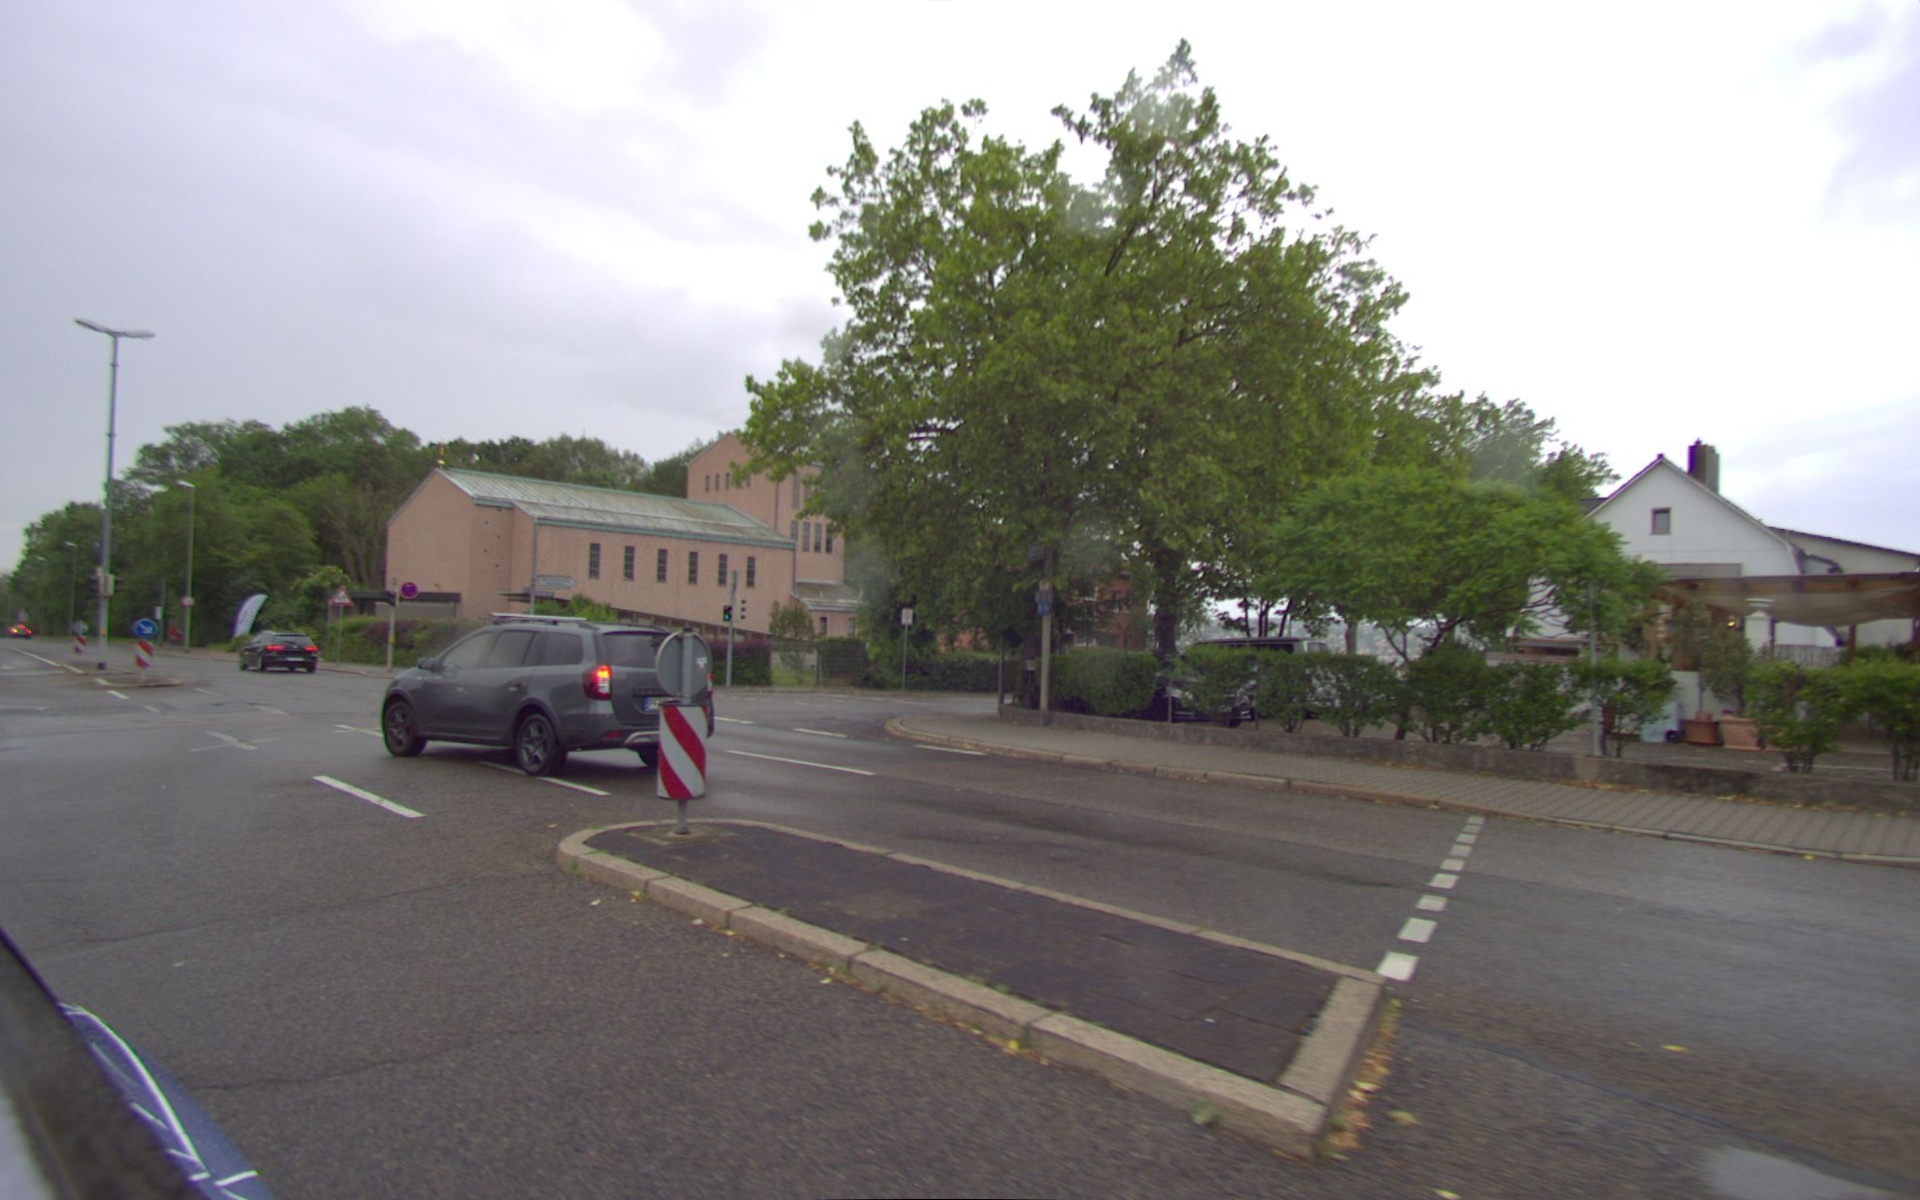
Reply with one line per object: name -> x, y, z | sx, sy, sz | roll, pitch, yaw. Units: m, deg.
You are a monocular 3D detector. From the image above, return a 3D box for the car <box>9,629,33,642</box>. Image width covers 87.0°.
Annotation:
car -> -119.748, 4.542, 129.035 | 4.305, 1.674, 1.971 | -2, -4, 45

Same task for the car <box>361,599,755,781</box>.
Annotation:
car -> -4.568, 0.915, 11.354 | 4.291, 1.674, 1.977 | -1, -4, 33

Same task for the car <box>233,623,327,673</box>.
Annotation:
car -> -24.657, 1.737, 36.621 | 4.305, 1.674, 1.971 | -2, -4, 45
